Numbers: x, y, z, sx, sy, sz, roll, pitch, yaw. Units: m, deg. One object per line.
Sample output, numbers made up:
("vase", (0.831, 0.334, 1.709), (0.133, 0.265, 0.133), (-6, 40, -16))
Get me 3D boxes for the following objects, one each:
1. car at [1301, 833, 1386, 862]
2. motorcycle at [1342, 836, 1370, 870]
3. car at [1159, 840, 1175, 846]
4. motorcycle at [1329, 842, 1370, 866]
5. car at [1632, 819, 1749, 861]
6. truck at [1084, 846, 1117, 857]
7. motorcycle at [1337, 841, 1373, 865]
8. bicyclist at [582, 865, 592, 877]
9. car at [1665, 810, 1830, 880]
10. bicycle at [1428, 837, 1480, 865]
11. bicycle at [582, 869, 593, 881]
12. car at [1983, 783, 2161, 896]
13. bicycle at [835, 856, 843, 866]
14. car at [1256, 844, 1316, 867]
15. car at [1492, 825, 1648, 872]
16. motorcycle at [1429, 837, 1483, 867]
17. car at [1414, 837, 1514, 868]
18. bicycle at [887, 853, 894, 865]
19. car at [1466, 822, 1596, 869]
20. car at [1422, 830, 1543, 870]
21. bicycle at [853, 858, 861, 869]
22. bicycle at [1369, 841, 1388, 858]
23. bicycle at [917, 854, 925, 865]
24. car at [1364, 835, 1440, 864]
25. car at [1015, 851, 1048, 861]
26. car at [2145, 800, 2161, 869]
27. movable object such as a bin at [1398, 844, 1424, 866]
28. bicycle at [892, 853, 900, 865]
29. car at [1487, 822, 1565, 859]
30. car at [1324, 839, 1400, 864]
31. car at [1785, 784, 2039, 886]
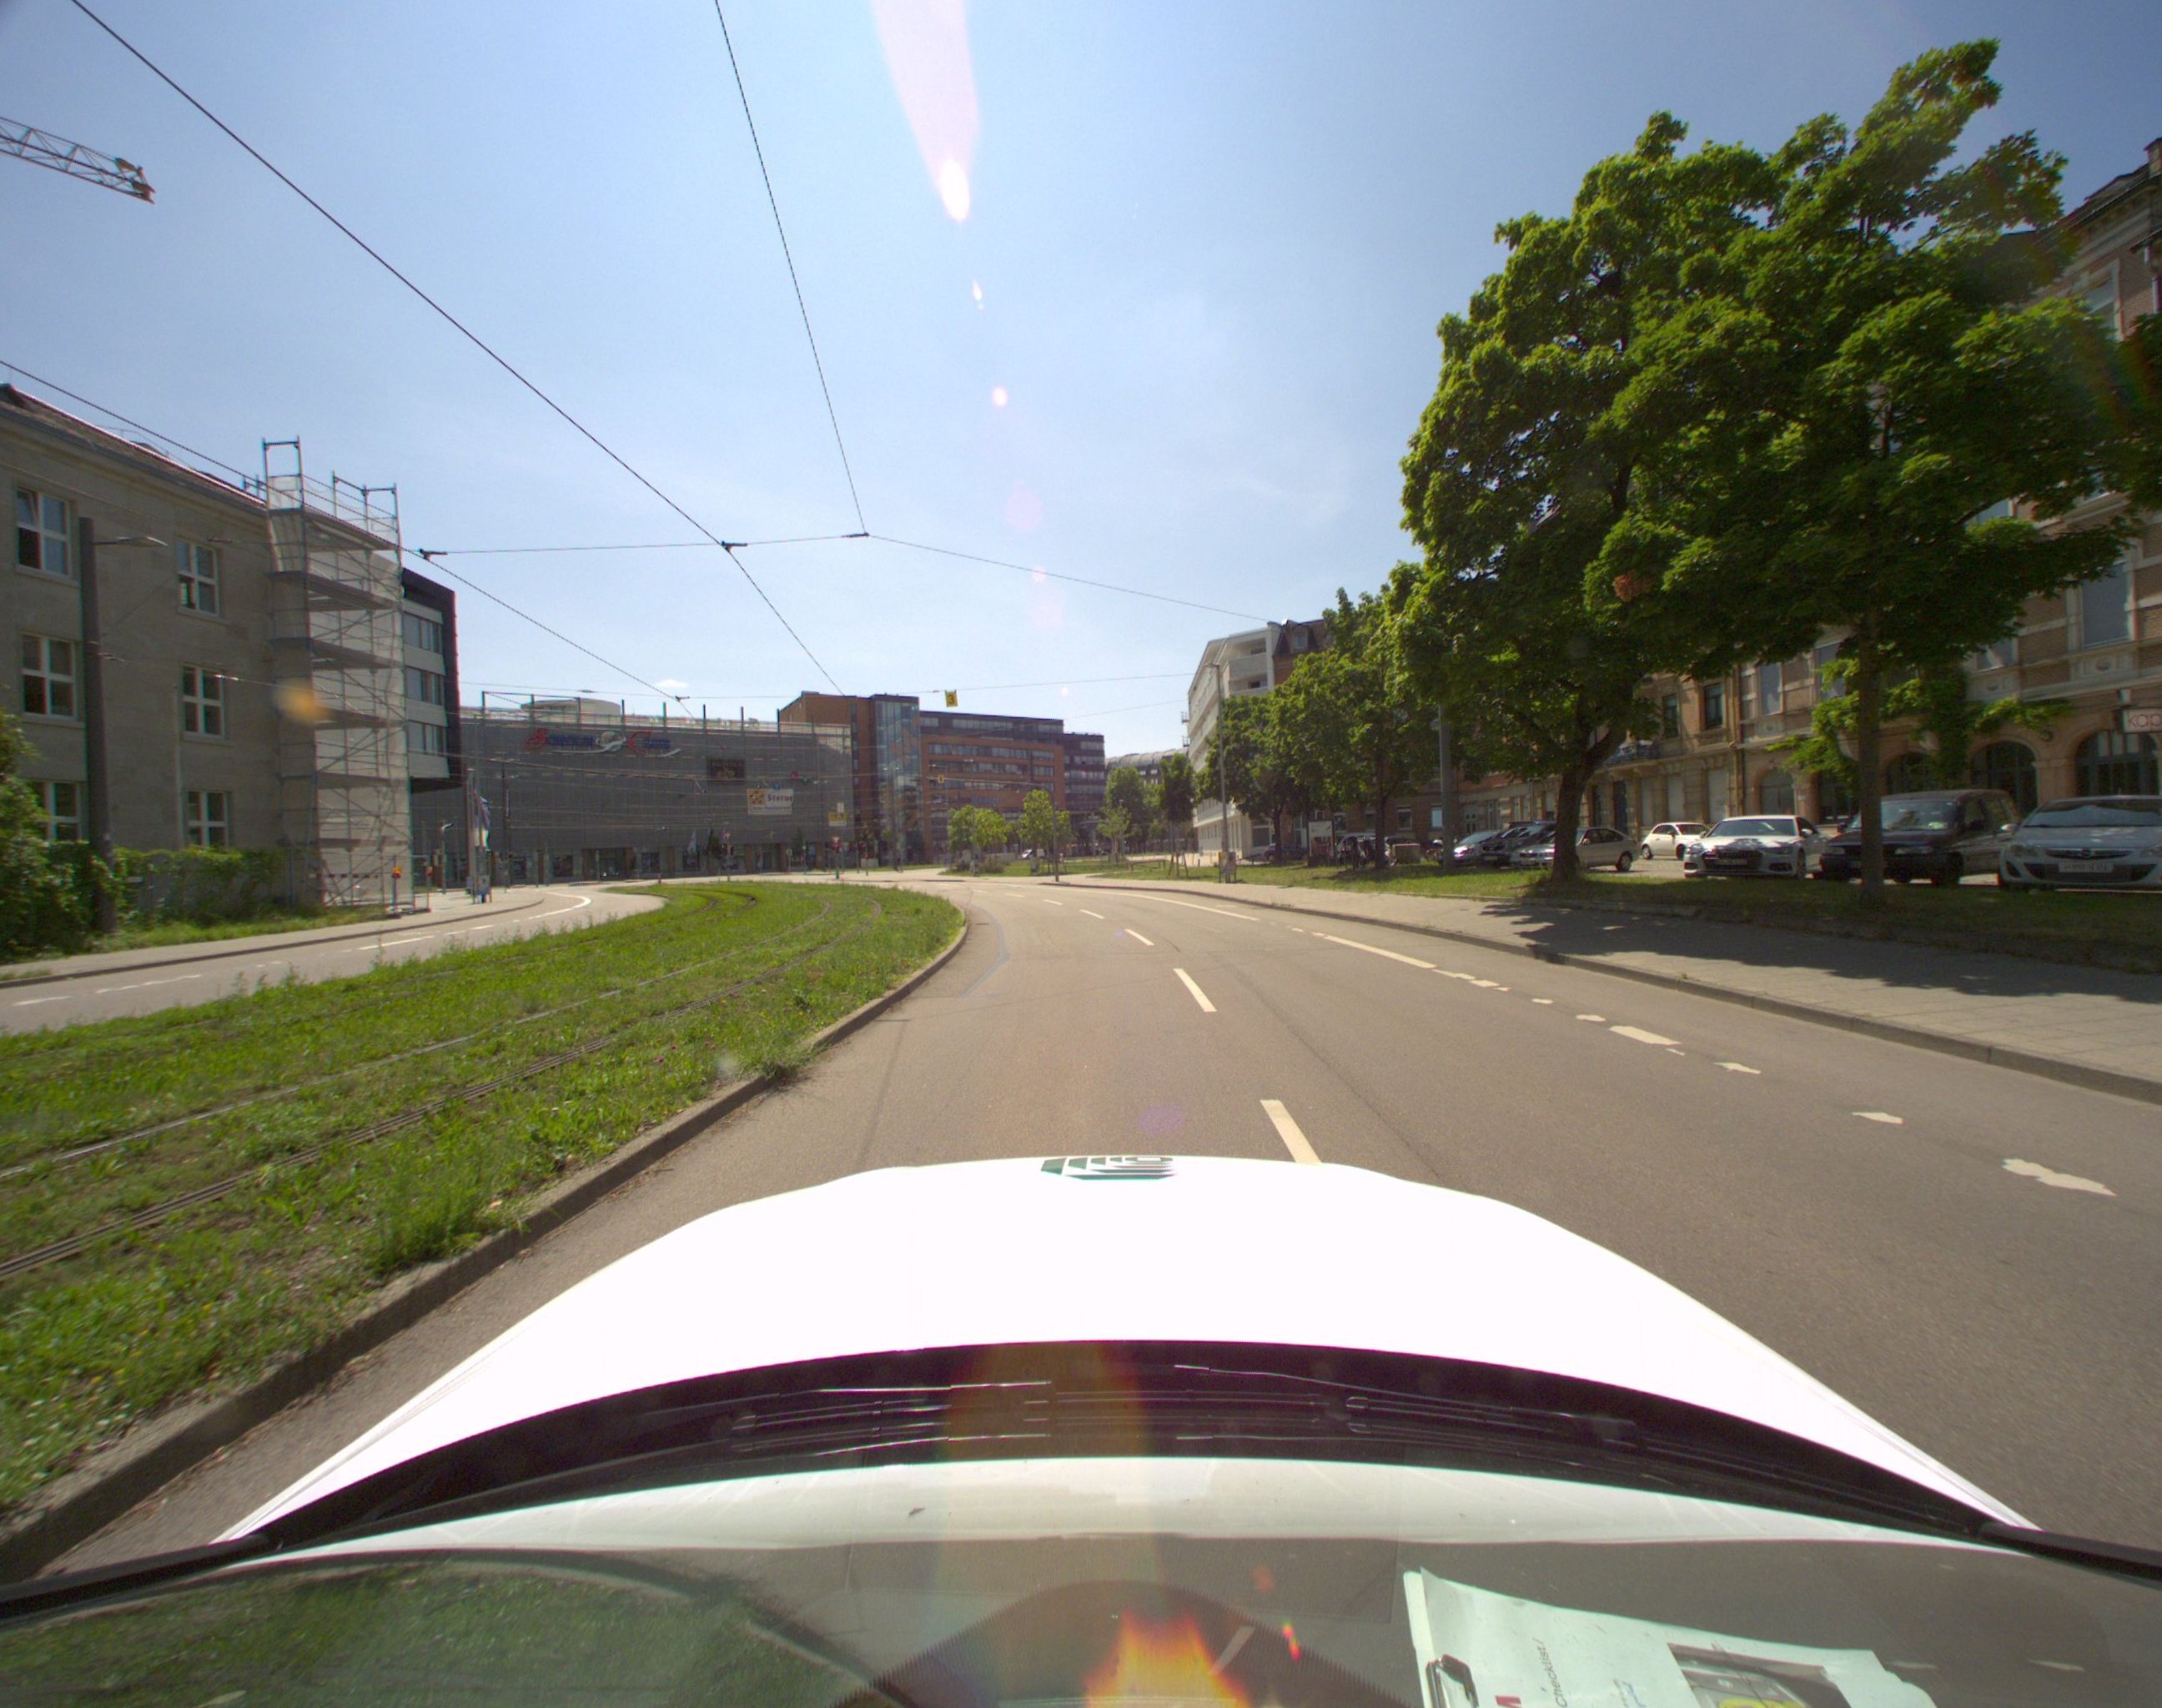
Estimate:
("car", (15.606, -0.404, 48.383), (4.882, 1.601, 1.821), (-1, 0, -25))
("motorcycle", (11.878, -0.050, 35.227), (0.672, 1.413, 1.859), (-3, 0, 4))
("car", (23.310, -2.964, 221.581), (3.948, 1.728, 1.878), (-1, 0, 33))
("motorcycle", (12.961, -0.004, 39.319), (1.818, 1.120, 0.527), (-1, 0, -5))
("car", (23.894, -0.528, 32.111), (1.828, 1.530, 4.005), (-1, 0, 5))
("truck", (5.028, -0.576, 212.989), (9.120, 2.809, 2.013), (-1, 0, 34))
("motorcycle", (12.870, -0.050, 38.259), (1.514, 1.120, 0.478), (-1, 0, 2))
("bicyclist", (-63.518, 2.163, 104.767), (1.045, 1.571, 0.770), (-1, 0, -29))
("car", (14.562, -0.183, 17.685), (4.814, 1.313, 2.124), (-1, 0, -43))
("bicycle", (17.037, -0.119, 37.212), (2.064, 1.236, 0.633), (-1, 0, 12))
("bicycle", (-63.537, 2.686, 104.816), (1.068, 1.390, 2.996), (-1, 0, -28))
("car", (14.803, -0.204, 11.681), (4.012, 1.400, 1.696), (-1, 0, -30))
("bicycle", (-38.853, 1.122, 130.513), (0.603, 1.731, 2.236), (-1, 0, -33))
("car", (15.533, 0.109, 61.701), (4.077, 1.624, 1.706), (-1, 0, 32))
("car", (14.762, -0.172, 24.606), (4.000, 1.313, 1.959), (-1, 0, -20))
("motorcycle", (16.512, -0.082, 35.886), (2.062, 1.236, 0.816), (-1, 0, 18))
("car", (18.148, -0.072, 38.772), (3.962, 1.376, 1.962), (-1, 0, 10))
("bicycle", (-31.913, 0.899, 136.420), (0.488, 2.013, 2.322), (-1, 0, -33))
("car", (15.201, -0.293, 27.492), (4.099, 1.470, 1.783), (-1, 0, -25))
("car", (14.899, -0.154, 30.202), (4.353, 1.376, 1.570), (-1, 0, -24))
("bicycle", (-36.256, 1.476, 131.747), (0.603, 1.731, 2.236), (-1, 0, -33))
("bicycle", (14.709, -0.210, 40.247), (0.492, 0.805, 1.465), (-1, 0, 37))
("bicycle", (-27.477, 0.976, 139.653), (0.488, 1.796, 2.236), (-1, 0, -33))
("car", (17.191, -0.249, 43.637), (3.877, 1.432, 1.593), (-1, 0, -27))
("car", (-8.397, 0.320, 139.137), (5.509, 1.668, 1.976), (-1, 0, -41))
("car", (23.094, -0.421, 15.163), (1.772, 1.420, 3.717), (-1, 0, 2))
("movable object such as a bin", (14.625, 0.036, 36.117), (0.979, 0.937, 0.704), (-1, 0, 14))
("bicycle", (-31.148, 0.884, 136.892), (0.488, 2.013, 2.322), (-1, 0, -33))
("car", (24.234, -0.696, 44.528), (1.911, 1.904, 4.658), (-1, 0, 3))
("car", (15.835, -0.137, 45.884), (4.006, 1.332, 1.745), (-1, 0, -25))
("car", (15.191, -0.335, 14.897), (4.005, 1.662, 1.957), (-1, 0, -24))
